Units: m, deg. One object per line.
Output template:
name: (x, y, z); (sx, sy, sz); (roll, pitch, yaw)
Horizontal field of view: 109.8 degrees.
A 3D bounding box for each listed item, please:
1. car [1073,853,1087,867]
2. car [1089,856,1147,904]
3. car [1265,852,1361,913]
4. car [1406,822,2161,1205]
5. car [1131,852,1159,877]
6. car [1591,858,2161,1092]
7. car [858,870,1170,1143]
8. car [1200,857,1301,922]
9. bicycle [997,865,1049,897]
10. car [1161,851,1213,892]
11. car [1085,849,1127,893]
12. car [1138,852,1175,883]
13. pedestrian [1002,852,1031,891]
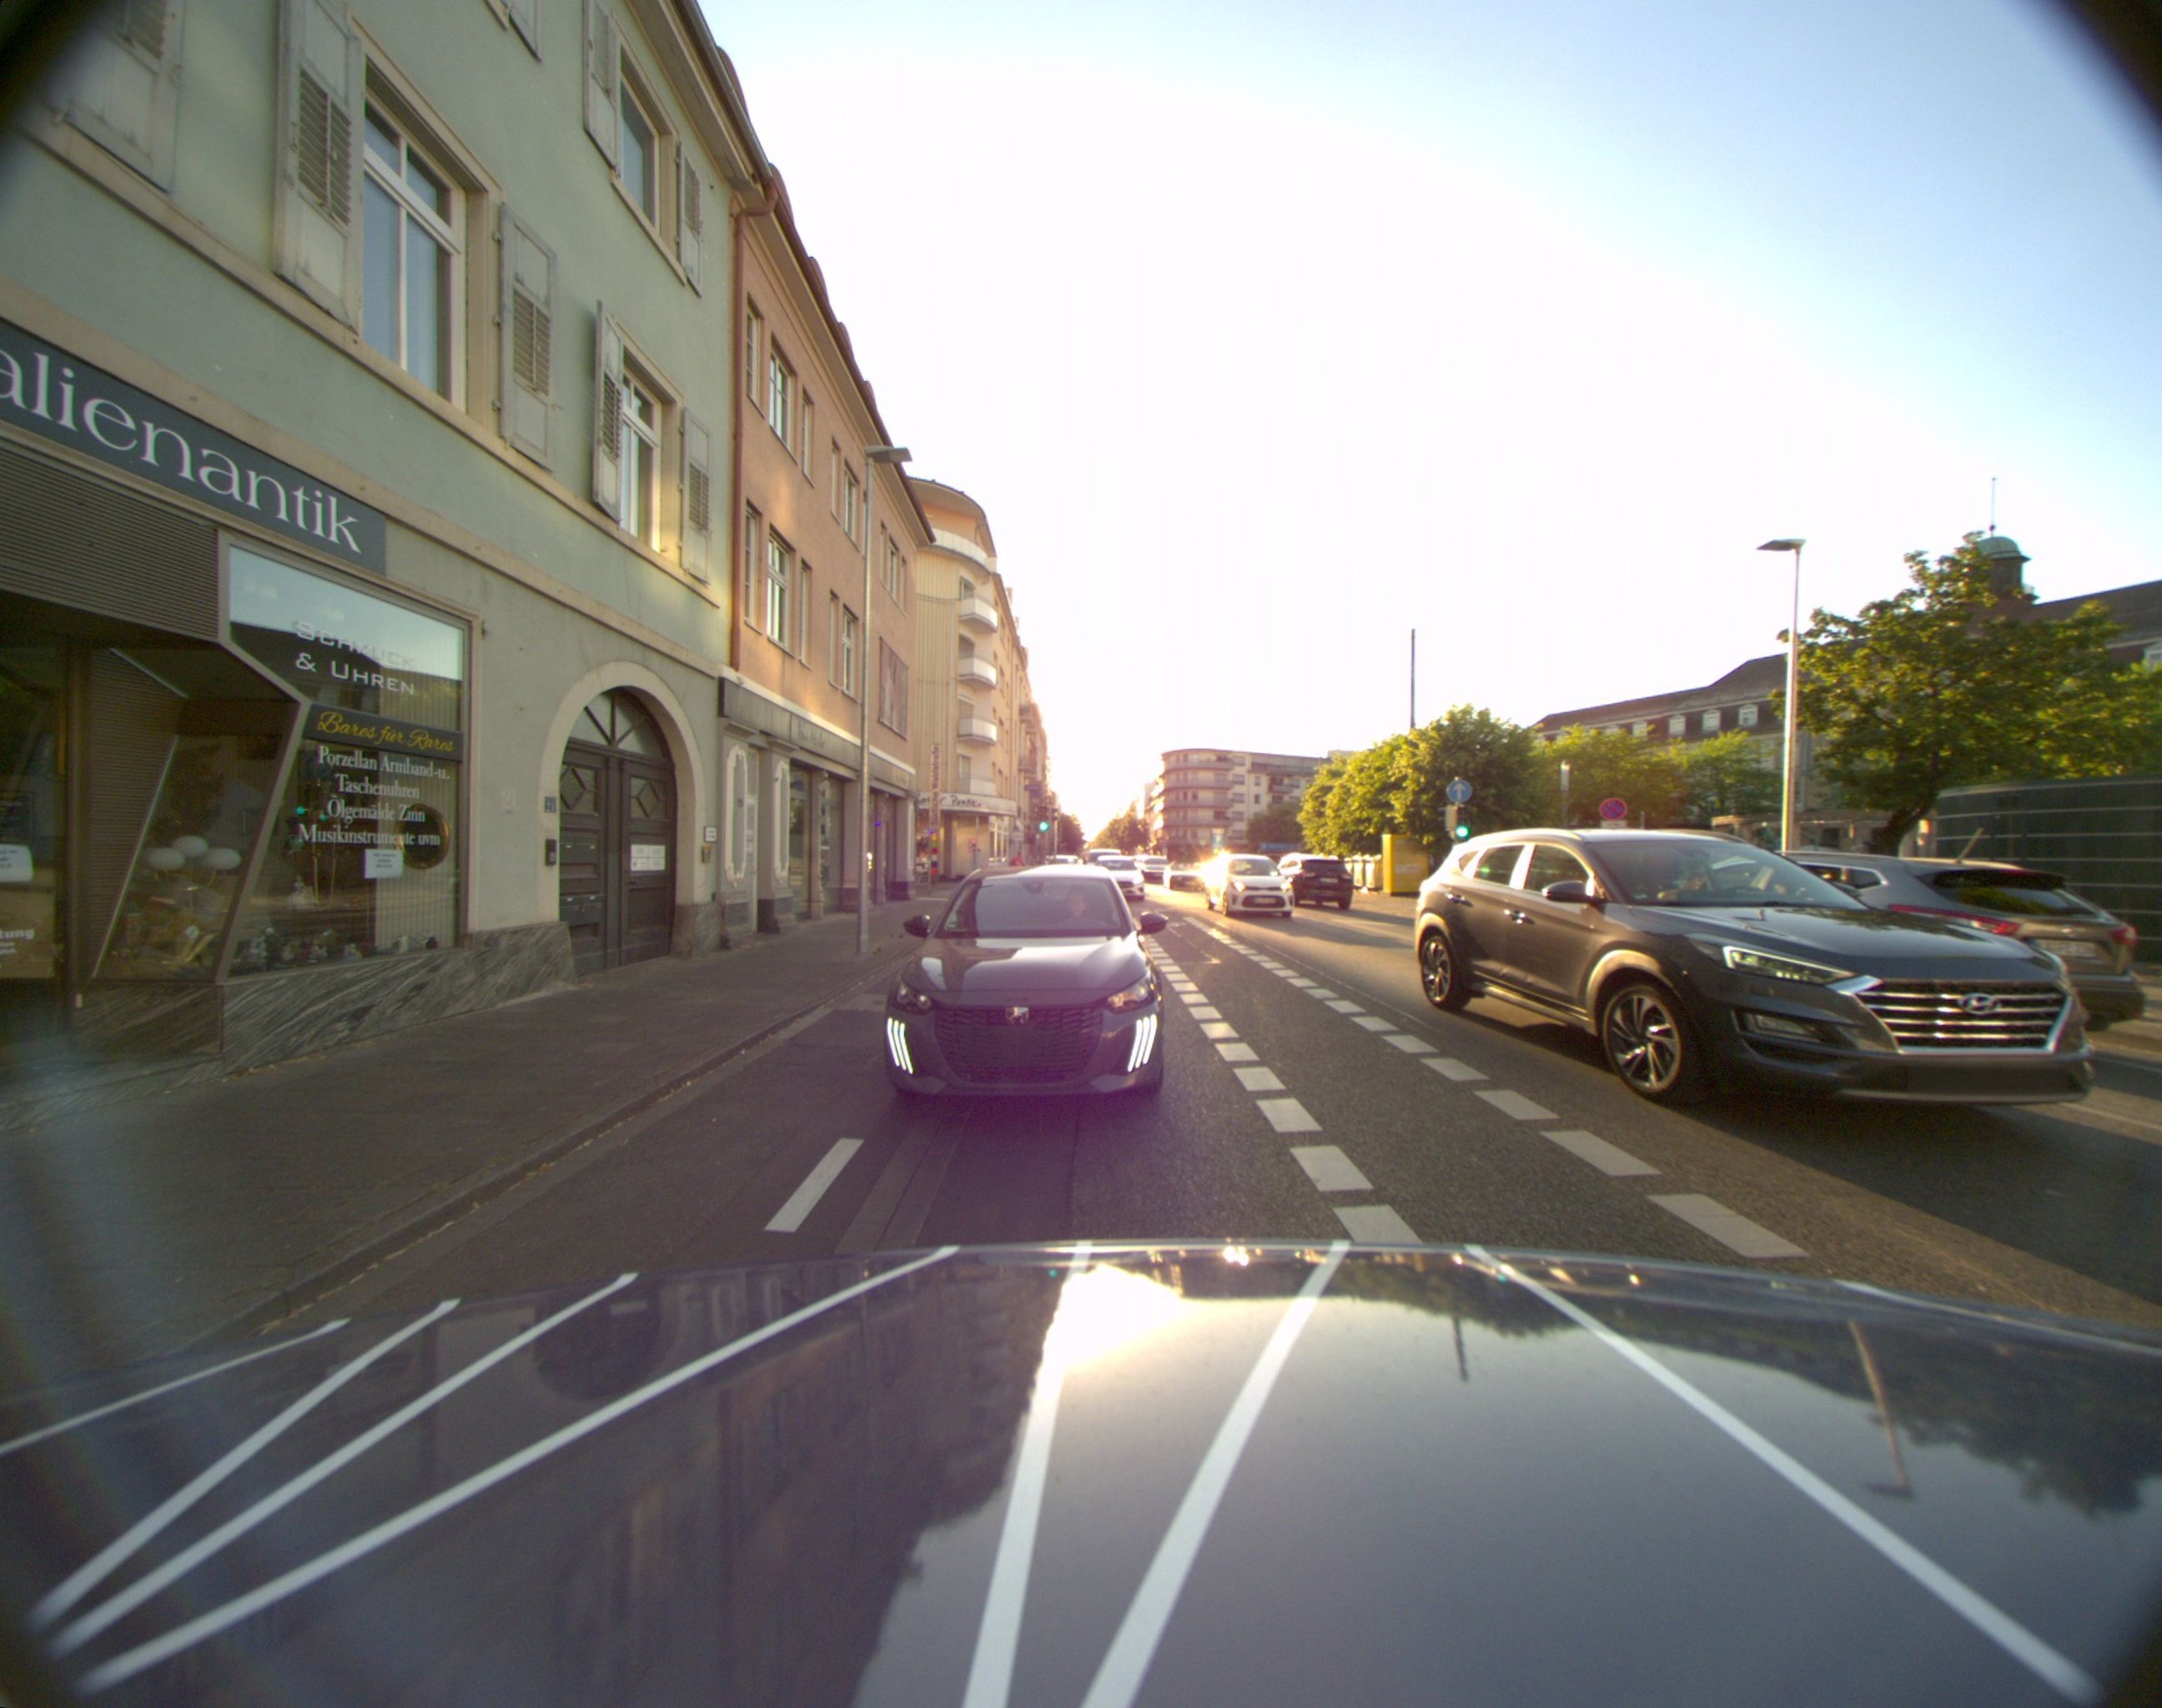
car: (-0.103, 0.913, 114.636); (1.998, 2.002, 4.000); (1, 0, 0)
car: (1.187, 0.825, 25.920); (1.827, 1.463, 3.985); (0, 0, 1)
car: (7.367, 0.849, 24.550); (1.827, 1.688, 3.985); (3, 0, 0)
car: (4.180, 0.713, 5.512); (1.827, 1.688, 4.259); (1, 0, 0)
car: (4.665, 0.715, 56.073); (1.880, 1.761, 4.000); (1, 0, 2)
car: (7.427, 0.918, 7.588); (1.827, 1.572, 3.999); (4, 0, -1)
car: (-0.279, 0.889, 6.200); (1.750, 1.434, 3.907); (0, 0, 3)
car: (4.231, 0.832, 19.558); (1.718, 1.463, 3.985); (1, 0, 1)
bicycle: (-2.001, 0.937, 26.390); (1.702, 1.051, 0.563); (1, 0, 11)
car: (4.869, 0.771, 35.490); (1.827, 1.730, 3.985); (2, 0, 1)
car: (1.136, 0.755, 35.918); (1.827, 1.918, 3.985); (2, 0, 1)
car: (4.555, 0.812, 46.219); (1.827, 1.730, 3.985); (2, 0, 1)
pedestrian: (-2.242, 0.596, 26.435); (0.858, 1.343, 0.563); (1, 1, 11)
